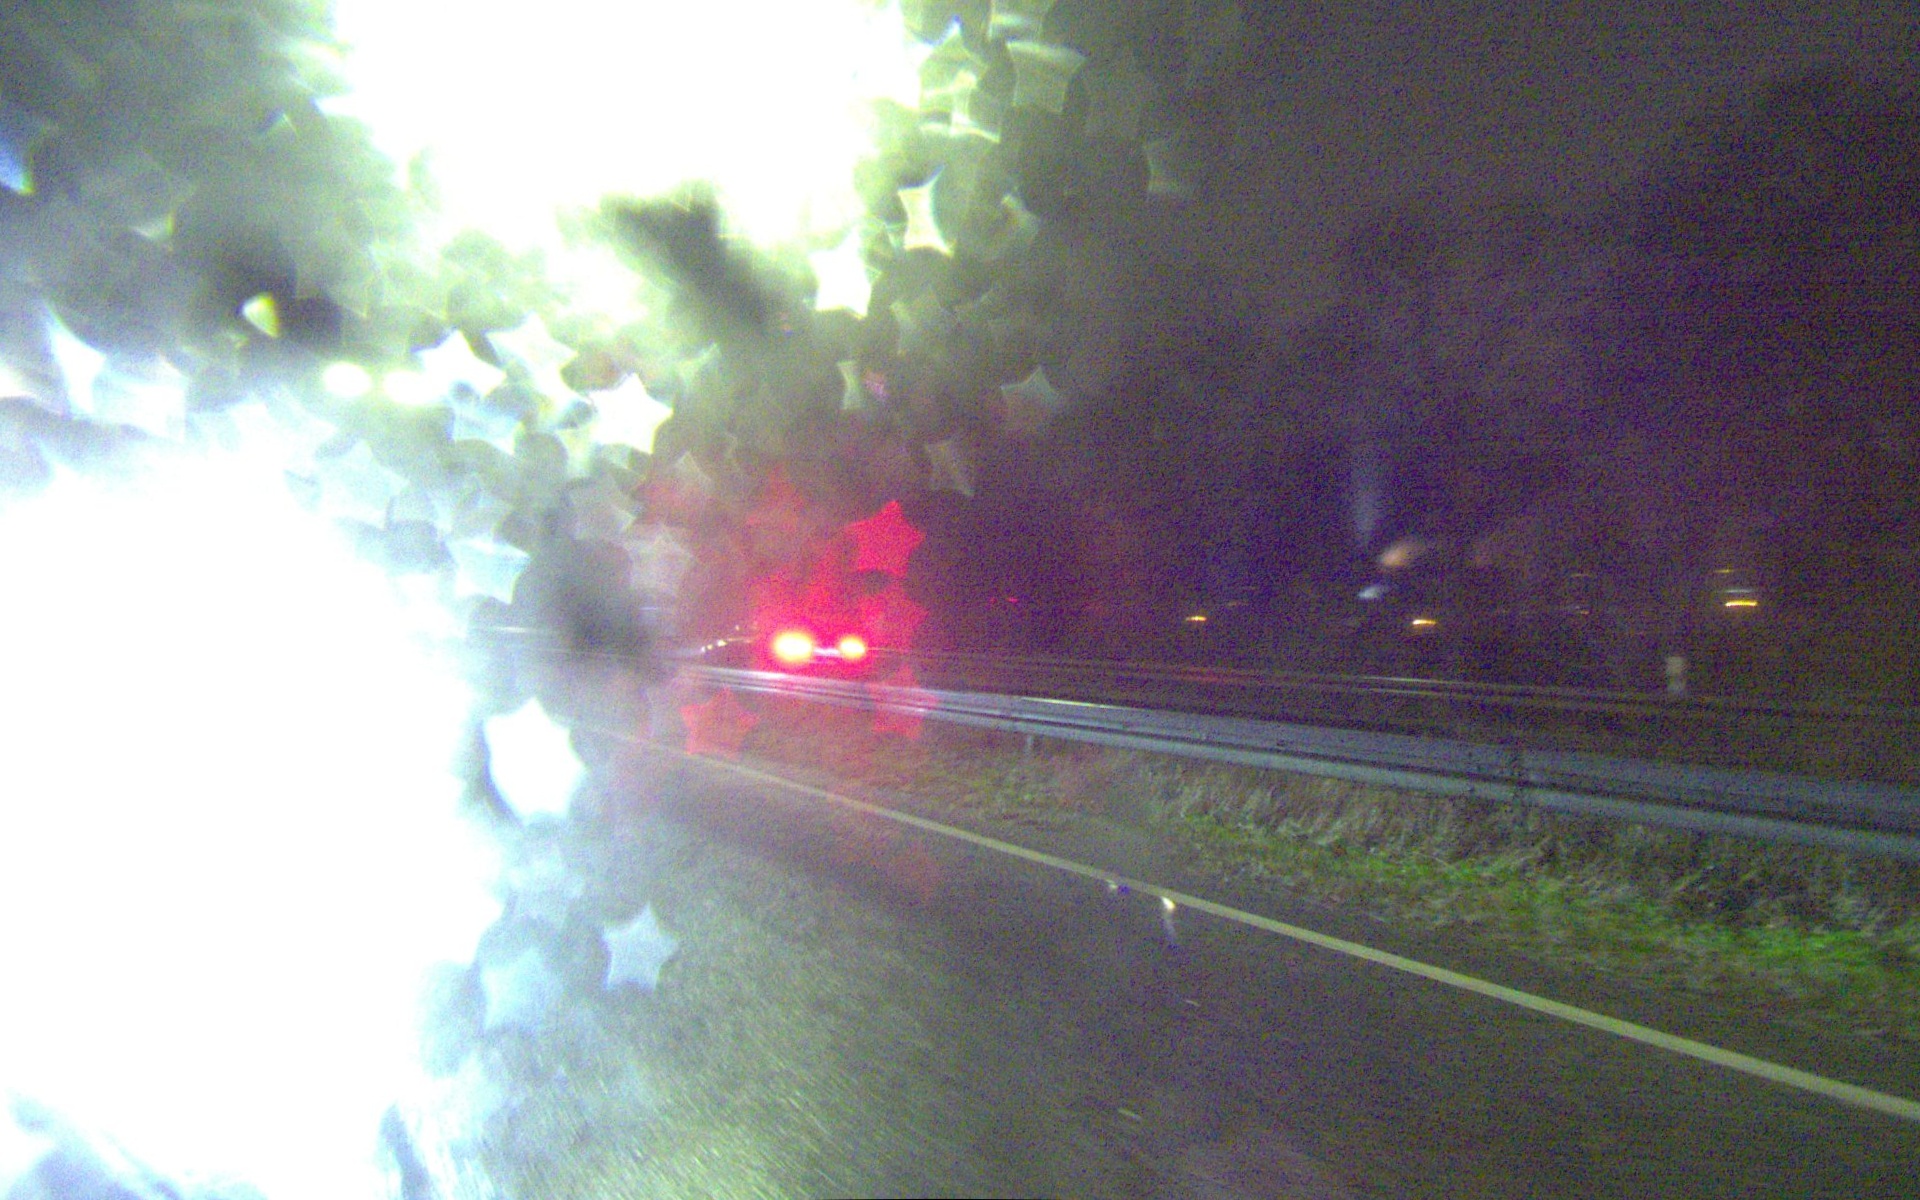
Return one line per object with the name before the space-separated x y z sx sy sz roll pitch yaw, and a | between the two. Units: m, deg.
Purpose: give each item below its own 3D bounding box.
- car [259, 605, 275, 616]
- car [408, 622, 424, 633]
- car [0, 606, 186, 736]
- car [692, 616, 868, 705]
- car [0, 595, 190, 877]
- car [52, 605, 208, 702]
car | -109.604 1.620 160.037 1.760 1.660 4.008 0 -1 -38
car | -86.297 4.332 160.450 1.837 1.660 4.010 0 -1 -35
car | -11.555 0.846 13.459 1.967 1.475 4.008 1 -2 -37
car | -3.638 1.102 19.906 1.729 1.564 4.018 2 -2 -38
car | -6.422 0.753 6.988 1.737 1.512 4.009 1 -1 -37
car | -14.919 0.896 18.368 1.967 1.552 4.008 1 -2 -37
